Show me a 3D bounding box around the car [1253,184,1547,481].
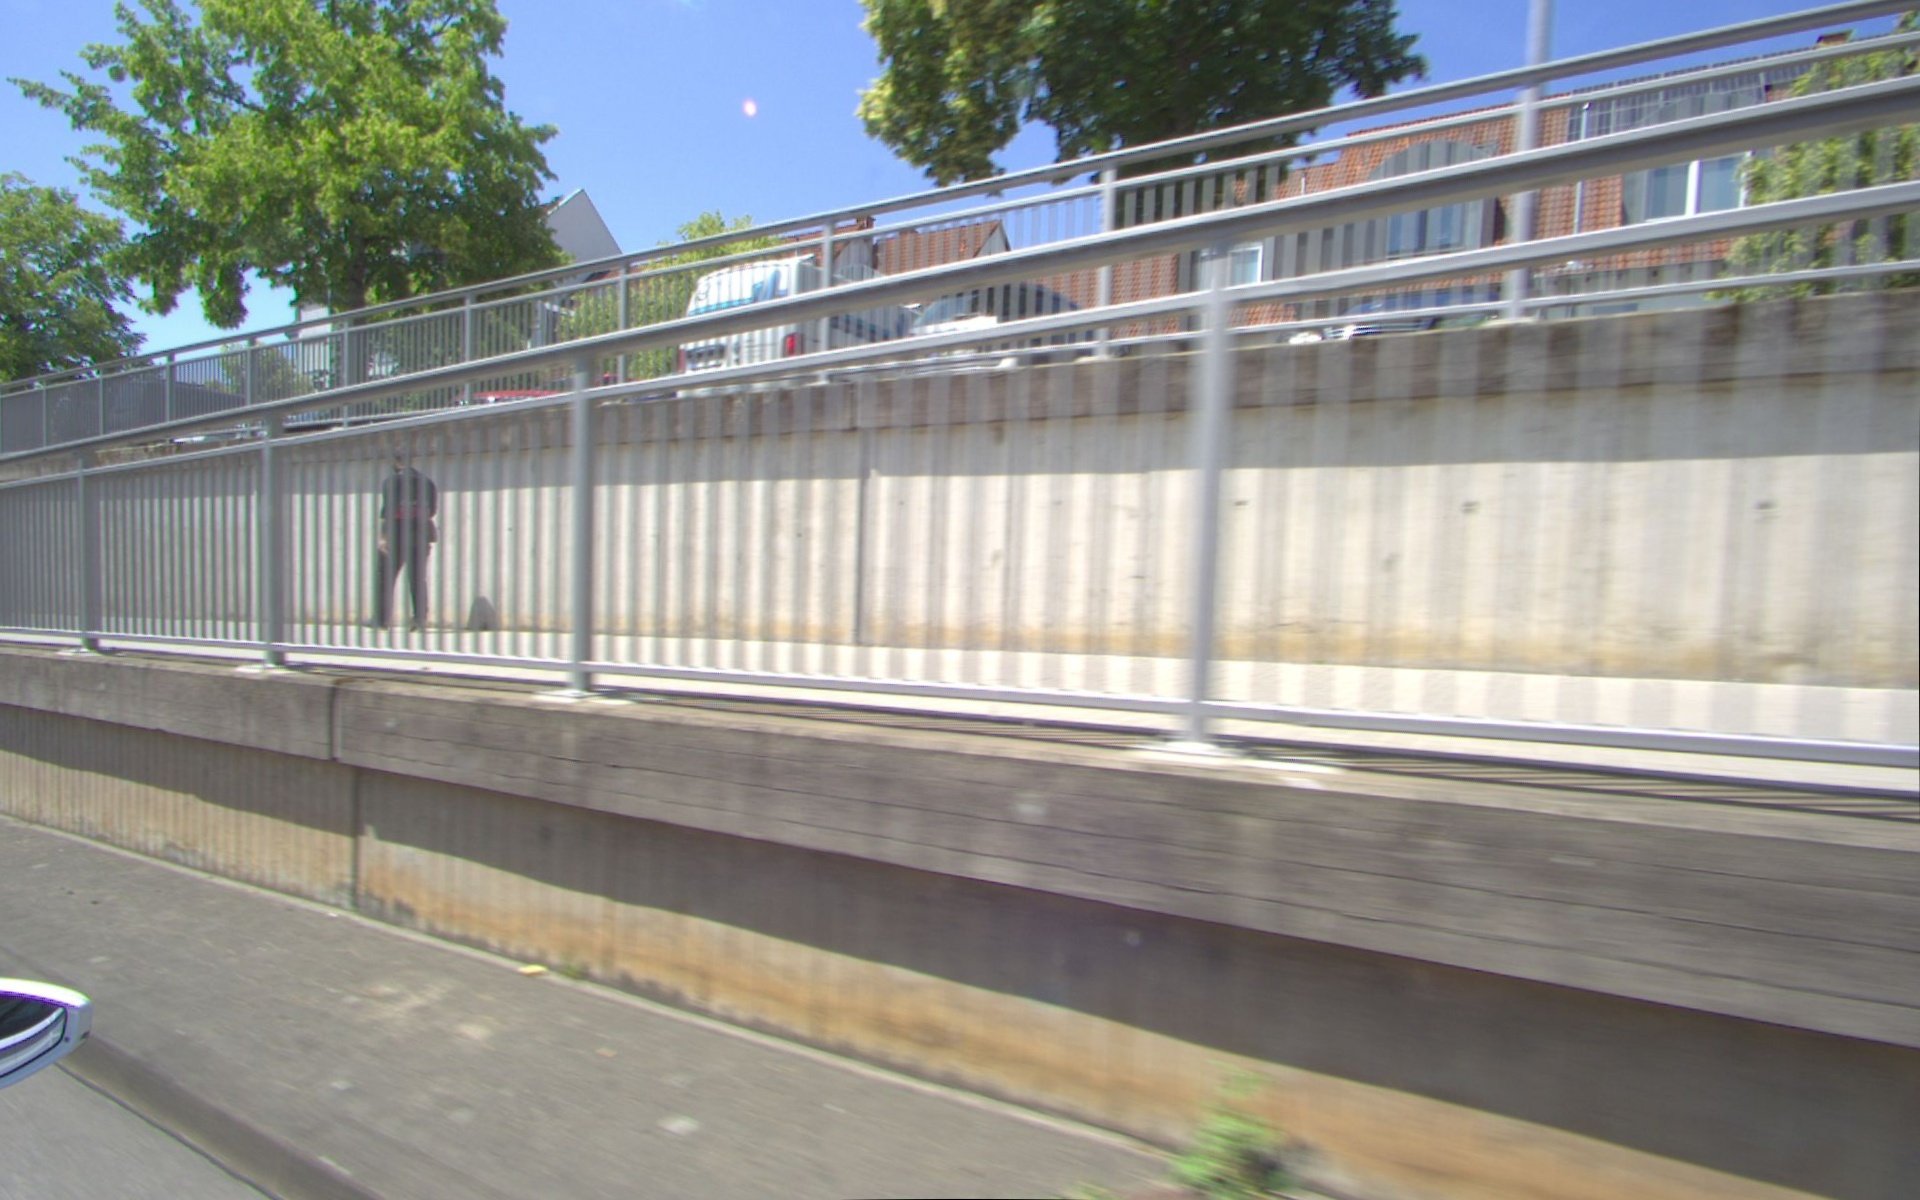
[{"bbox_3d":[4.152,-2.067,9.010,1.723,1.519,4.276,3,2,33],"label":"car"}]

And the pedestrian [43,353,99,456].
[{"bbox_3d":[-17.001,-3.709,19.160,0.585,1.804,0.671,3,2,33],"label":"pedestrian"}]

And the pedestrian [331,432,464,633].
[{"bbox_3d":[-5.371,-0.610,9.579,0.777,1.806,0.834,1,1,32],"label":"pedestrian"}]

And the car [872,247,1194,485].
[{"bbox_3d":[0.998,-2.276,10.907,1.661,1.618,4.195,3,2,33],"label":"car"}]

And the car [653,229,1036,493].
[{"bbox_3d":[-1.152,-2.643,12.573,1.960,2.092,5.101,3,2,33],"label":"car"}]

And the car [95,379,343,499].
[{"bbox_3d":[-15.493,-3.274,21.131,1.661,1.911,3.897,3,2,33],"label":"car"}]

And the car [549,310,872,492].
[{"bbox_3d":[-3.145,-2.468,13.433,1.661,1.618,4.195,3,2,33],"label":"car"}]

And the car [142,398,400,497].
[{"bbox_3d":[-13.485,-2.914,19.821,1.661,1.386,3.897,3,2,33],"label":"car"}]

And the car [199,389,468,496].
[{"bbox_3d":[-11.450,-2.810,18.541,1.661,1.386,3.897,3,2,33],"label":"car"}]

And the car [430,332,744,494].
[{"bbox_3d":[-5.311,-2.585,14.809,1.661,1.618,4.195,3,2,33],"label":"car"}]
